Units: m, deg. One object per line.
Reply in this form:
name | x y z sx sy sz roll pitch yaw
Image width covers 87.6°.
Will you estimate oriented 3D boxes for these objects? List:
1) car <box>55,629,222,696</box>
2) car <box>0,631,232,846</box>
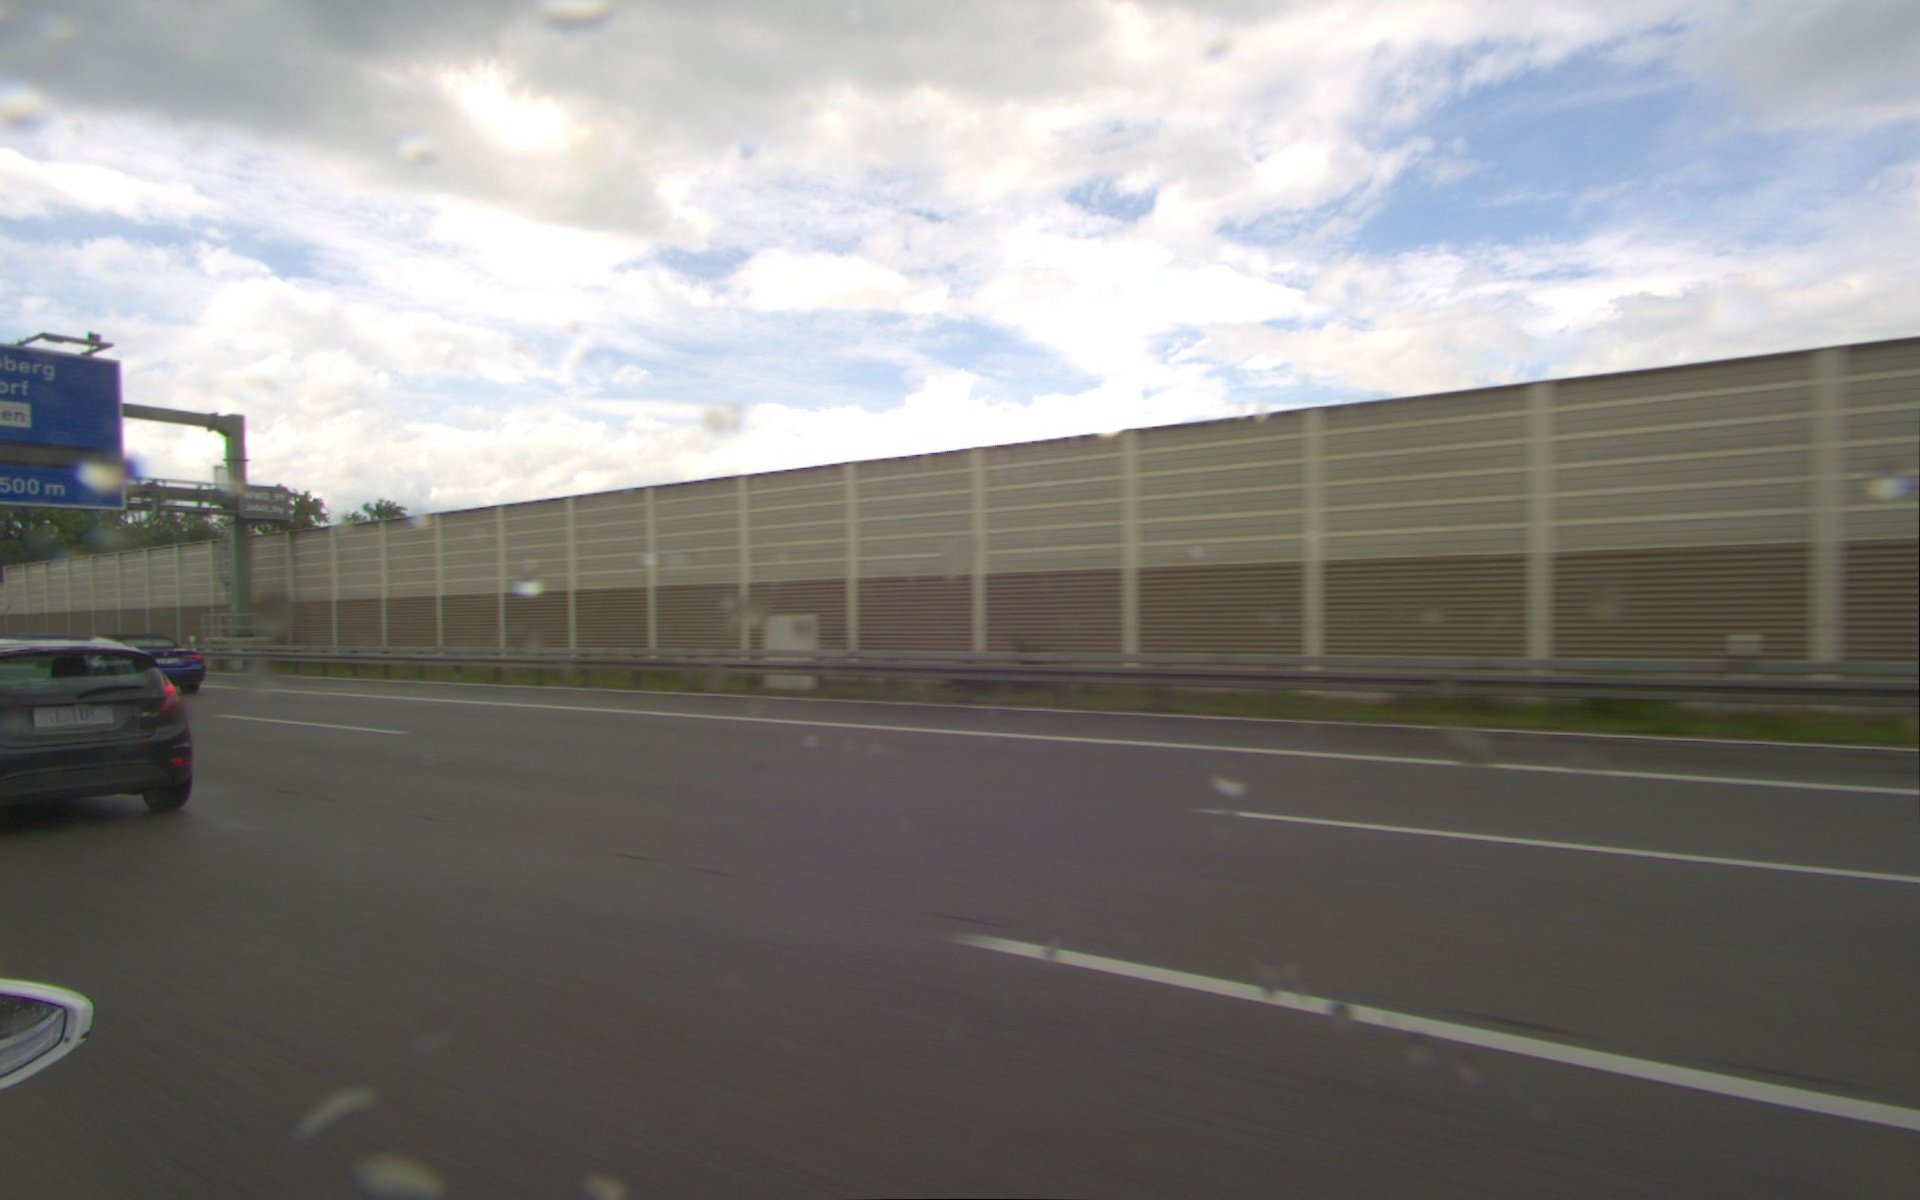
car | -19.597 1.425 23.861 4.173 1.437 1.945 -1 -1 34
car | -7.992 1.001 8.346 4.218 1.435 1.714 -1 -1 33
